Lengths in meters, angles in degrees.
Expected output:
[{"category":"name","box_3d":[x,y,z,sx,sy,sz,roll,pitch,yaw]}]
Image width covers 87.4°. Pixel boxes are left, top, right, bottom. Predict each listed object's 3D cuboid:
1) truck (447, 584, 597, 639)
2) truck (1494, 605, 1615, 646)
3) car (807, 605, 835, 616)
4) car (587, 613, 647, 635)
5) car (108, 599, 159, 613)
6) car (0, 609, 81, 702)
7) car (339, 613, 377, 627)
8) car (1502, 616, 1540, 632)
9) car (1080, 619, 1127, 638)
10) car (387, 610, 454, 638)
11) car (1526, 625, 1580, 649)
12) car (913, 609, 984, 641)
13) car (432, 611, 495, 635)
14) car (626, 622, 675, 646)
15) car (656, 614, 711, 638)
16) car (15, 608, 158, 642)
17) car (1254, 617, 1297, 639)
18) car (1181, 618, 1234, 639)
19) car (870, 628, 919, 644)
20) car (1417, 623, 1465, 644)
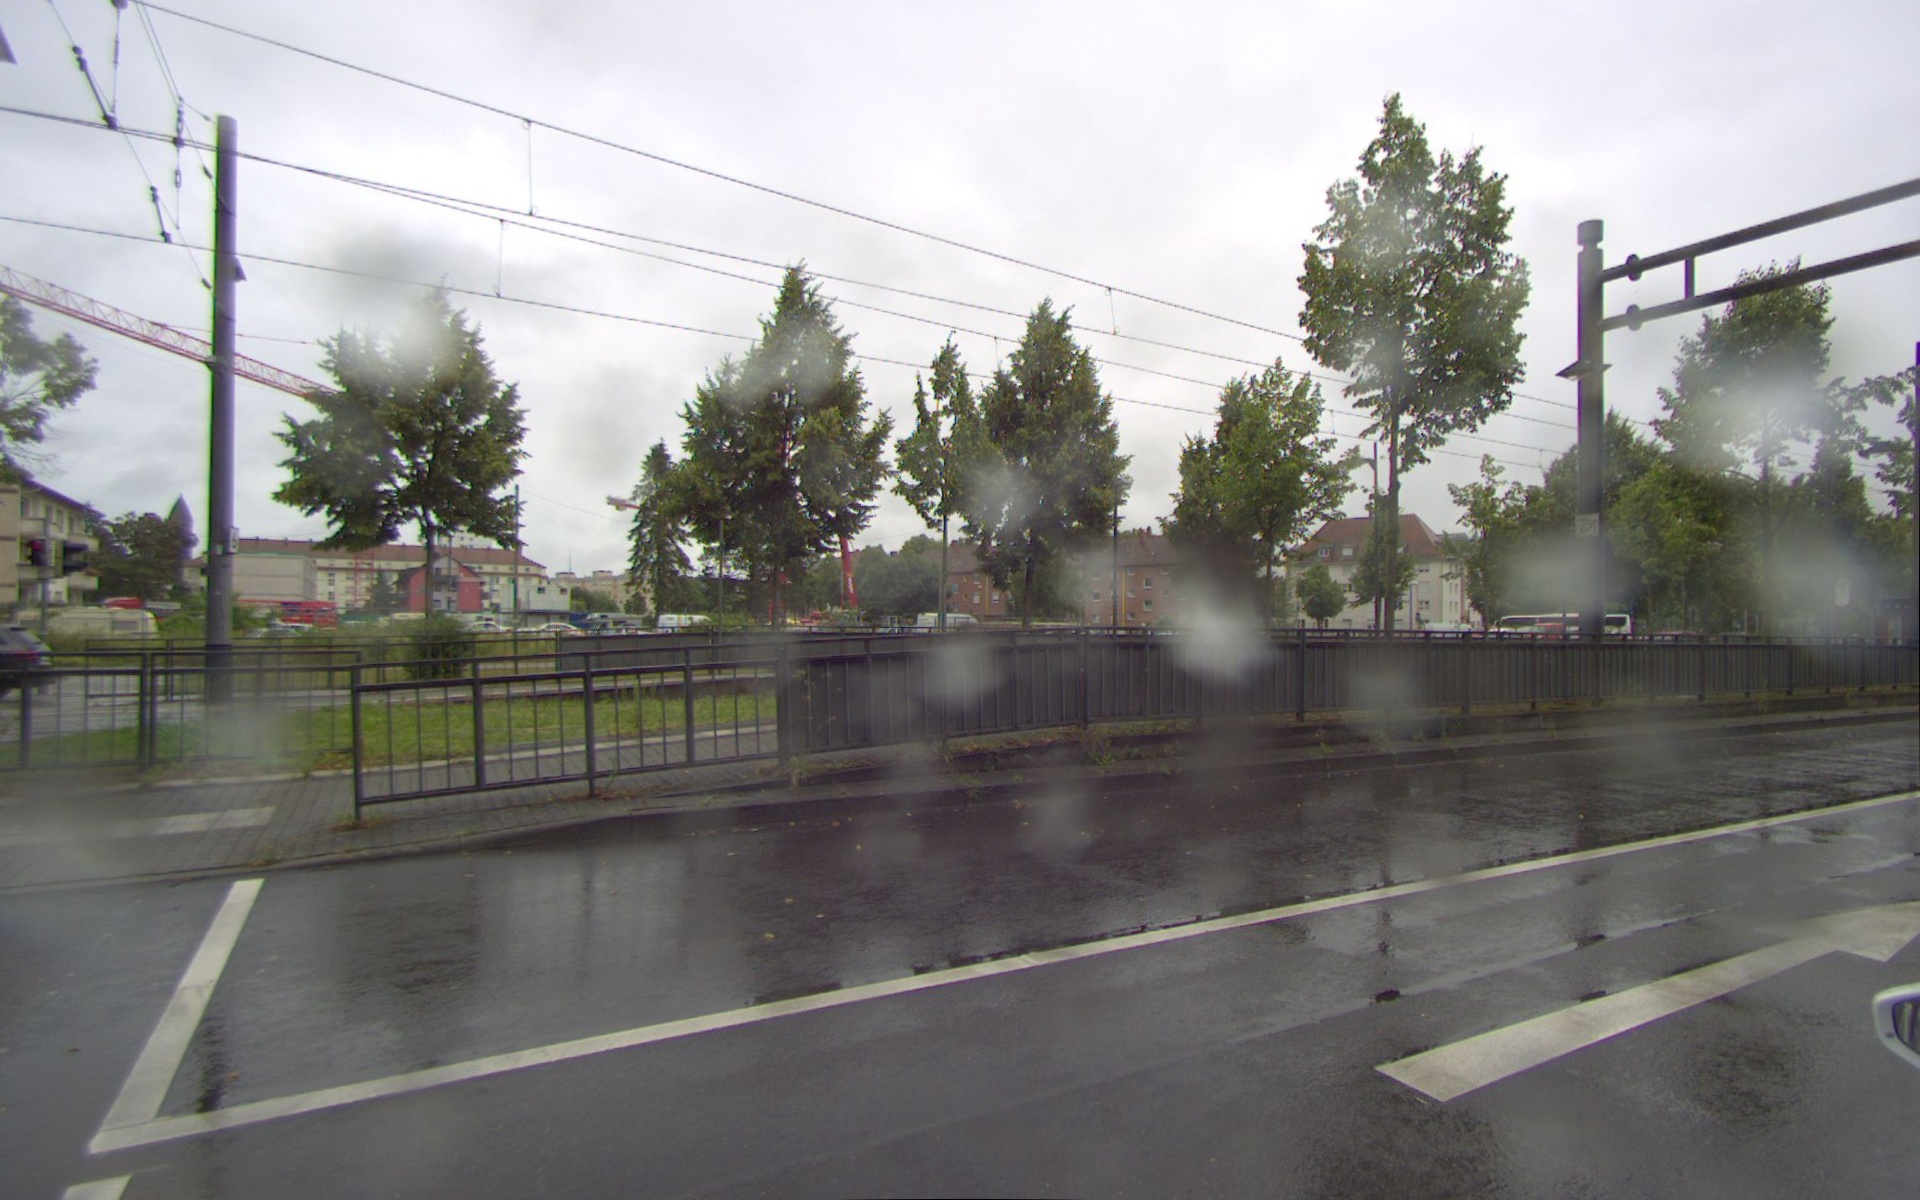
[{"category":"truck","box_3d":[-46.144,1.137,106.376,6.108,5.468,13.248,-1,0,40]},{"category":"truck","box_3d":[71.228,3.074,120.547,12.284,4.654,3.392,-1,0,35]},{"category":"car","box_3d":[-20.615,1.598,149.174,3.768,1.540,1.732,-1,0,-30]},{"category":"car","box_3d":[-35.161,2.434,103.093,5.459,2.040,1.981,-1,0,-35]},{"category":"car","box_3d":[-72.423,0.521,88.053,1.461,1.228,3.250,-1,0,42]},{"category":"car","box_3d":[-19.078,0.941,17.431,5.440,1.629,1.940,2,-2,-32]},{"category":"car","box_3d":[-71.543,2.382,119.447,3.768,1.540,1.732,-1,0,-30]},{"category":"car","box_3d":[61.841,2.651,110.689,3.487,1.762,1.699,-1,0,37]},{"category":"car","box_3d":[13.541,2.685,94.753,3.952,1.639,1.984,-1,0,-30]},{"category":"car","box_3d":[-38.444,1.672,71.622,3.967,1.840,1.809,-1,0,-40]},{"category":"car","box_3d":[53.271,3.314,90.222,3.933,2.040,1.994,2,-1,-14]},{"category":"car","box_3d":[-0.895,1.967,79.074,5.434,2.357,1.829,-1,0,-30]},{"category":"car","box_3d":[-34.071,1.578,68.901,3.768,1.540,1.732,-1,0,-30]},{"category":"car","box_3d":[-28.101,3.037,91.176,3.952,2.040,1.984,-1,0,-30]},{"category":"car","box_3d":[-22.716,2.144,82.687,3.967,1.840,1.809,-1,0,-40]},{"category":"car","box_3d":[-48.526,1.354,56.014,5.711,1.694,2.035,-1,0,-32]},{"category":"car","box_3d":[31.824,2.792,101.147,3.952,2.040,1.984,-1,0,-30]},{"category":"car","box_3d":[26.504,3.035,107.697,5.294,2.040,2.082,-1,0,-23]},{"category":"car","box_3d":[-5.441,2.937,83.453,3.768,1.171,1.732,-1,0,-30]},{"category":"car","box_3d":[49.659,3.487,103.739,4.144,2.040,1.994,2,-1,-14]}]
